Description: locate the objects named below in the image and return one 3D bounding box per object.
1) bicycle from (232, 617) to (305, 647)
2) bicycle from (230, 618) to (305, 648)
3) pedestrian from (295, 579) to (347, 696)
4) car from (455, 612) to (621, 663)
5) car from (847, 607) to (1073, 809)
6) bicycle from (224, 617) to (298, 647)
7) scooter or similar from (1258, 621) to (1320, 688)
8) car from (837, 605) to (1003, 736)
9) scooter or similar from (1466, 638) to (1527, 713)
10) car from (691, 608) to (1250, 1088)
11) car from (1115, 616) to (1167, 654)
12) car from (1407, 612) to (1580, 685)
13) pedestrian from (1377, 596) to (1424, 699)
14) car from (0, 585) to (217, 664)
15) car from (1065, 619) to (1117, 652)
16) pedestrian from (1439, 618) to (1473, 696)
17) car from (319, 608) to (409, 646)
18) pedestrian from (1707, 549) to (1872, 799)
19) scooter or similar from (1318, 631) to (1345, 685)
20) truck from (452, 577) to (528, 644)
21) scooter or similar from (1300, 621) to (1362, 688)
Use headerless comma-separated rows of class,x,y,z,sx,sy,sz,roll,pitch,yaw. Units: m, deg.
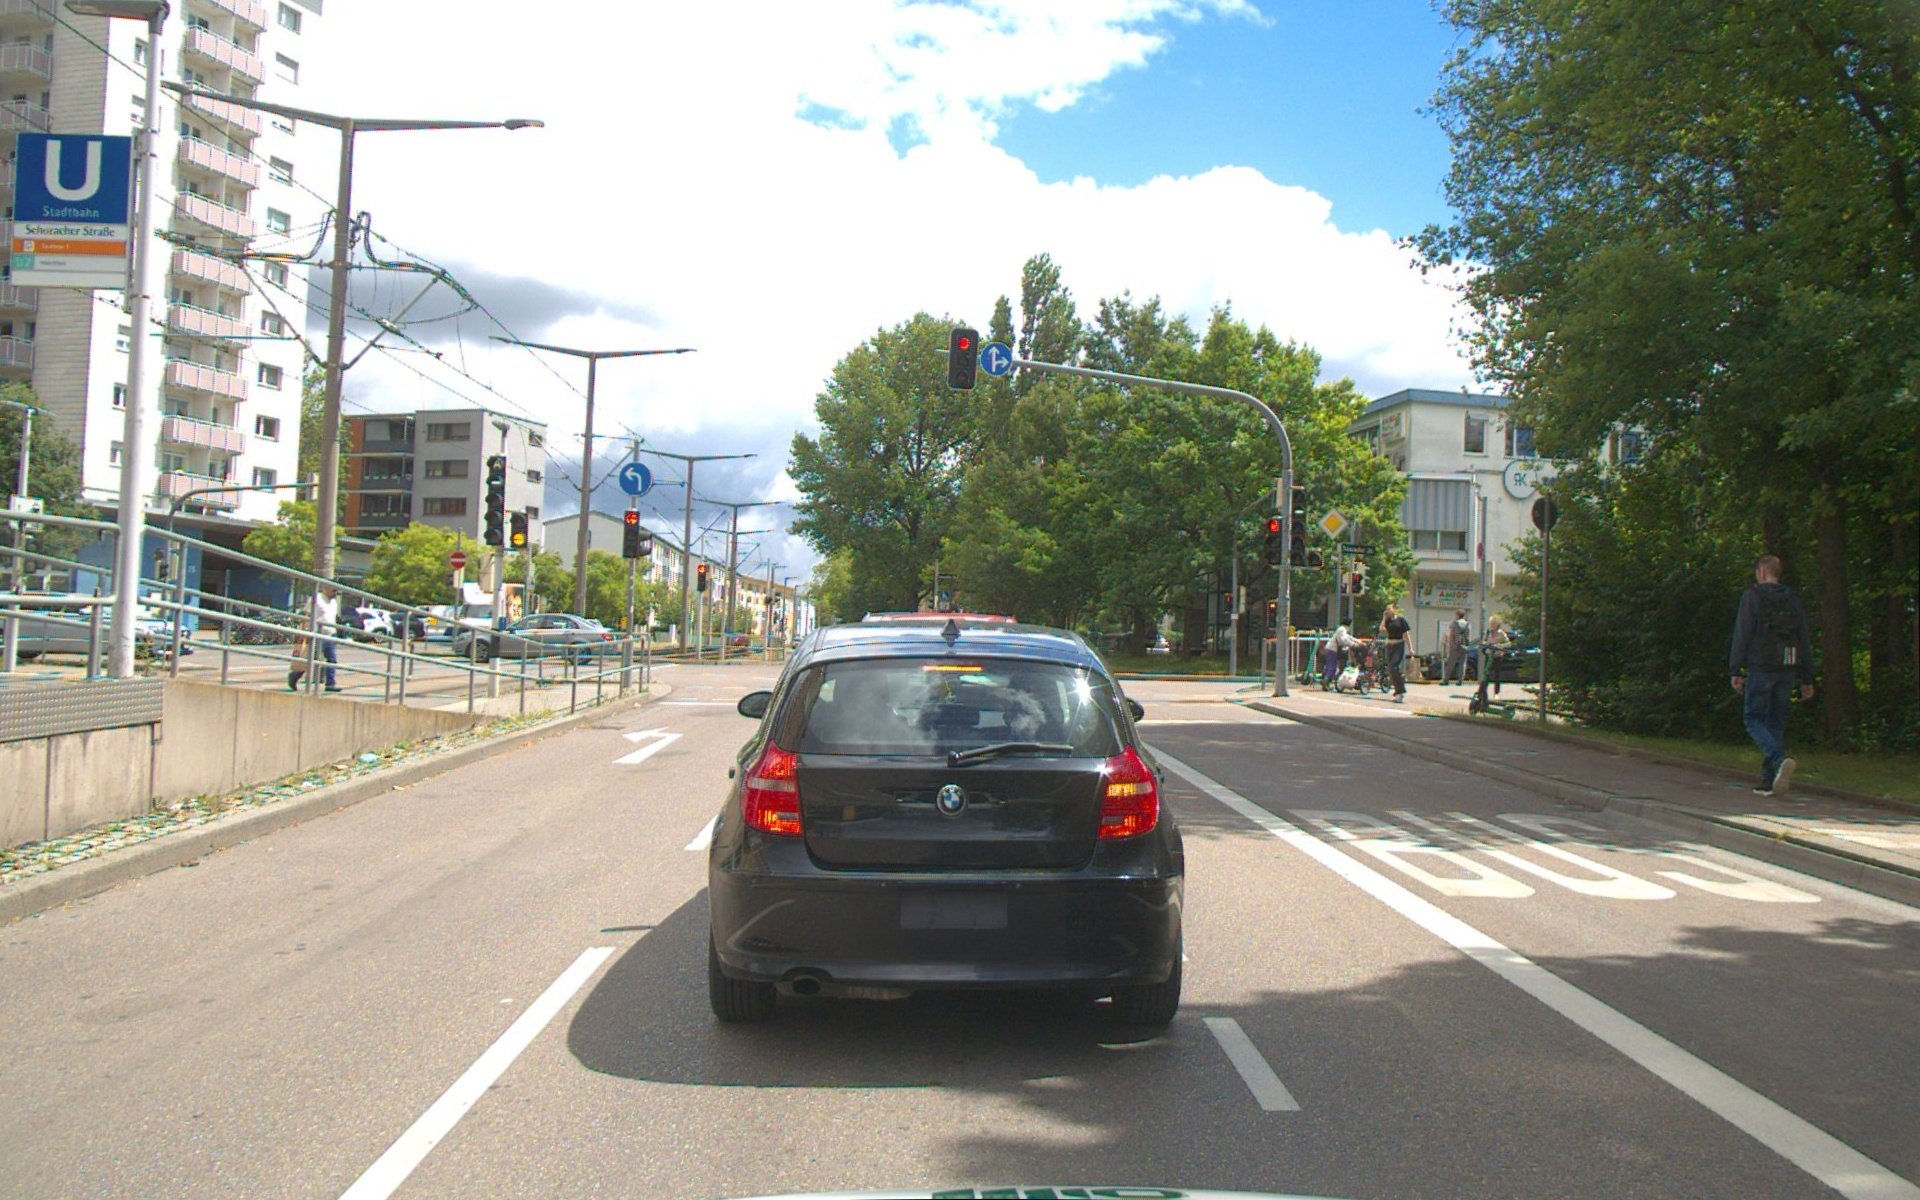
bicycle,-26.716,1.239,63.920,2.528,1.026,0.748,3,-3,-29
bicycle,-25.960,1.254,62.021,2.528,1.026,0.748,3,-3,-29
pedestrian,-9.784,0.567,25.308,0.678,1.764,0.683,1,-1,-23
car,-11.952,1.069,47.068,4.360,1.352,1.676,1,0,-8
car,-0.024,0.791,13.617,1.605,1.424,3.419,1,0,-1
bicycle,-26.543,1.237,62.822,2.528,1.026,0.748,3,-3,-29
scooter or similar,6.339,1.050,31.889,1.087,1.257,0.539,1,-1,1
car,-0.482,0.816,21.079,1.862,1.447,4.538,1,0,-1
scooter or similar,9.285,1.307,28.635,0.873,1.252,0.454,2,-1,-7
car,0.012,0.761,6.714,1.666,1.424,3.419,1,0,-1
car,9.476,1.821,86.796,1.694,1.904,3.991,2,-1,-9
car,15.662,1.395,48.662,4.451,2.049,1.996,0,0,-9
pedestrian,8.238,0.885,30.931,0.628,1.909,0.514,2,-1,-24
car,-18.674,0.507,35.320,4.701,1.549,1.996,1,-1,-9
car,7.167,1.932,90.760,1.830,1.691,3.988,2,-1,-12
pedestrian,11.421,1.304,38.052,0.644,1.743,0.461,1,-1,29
car,-28.066,1.267,77.911,3.861,1.676,1.644,1,-1,-25
pedestrian,6.618,0.570,13.243,0.779,1.909,1.013,1,-1,-1
scooter or similar,7.866,1.216,34.999,0.536,1.082,1.263,1,0,13
truck,-23.849,0.538,84.235,2.237,3.172,7.311,2,-1,-5
scooter or similar,7.394,1.076,33.010,1.126,1.294,0.555,2,-1,6
